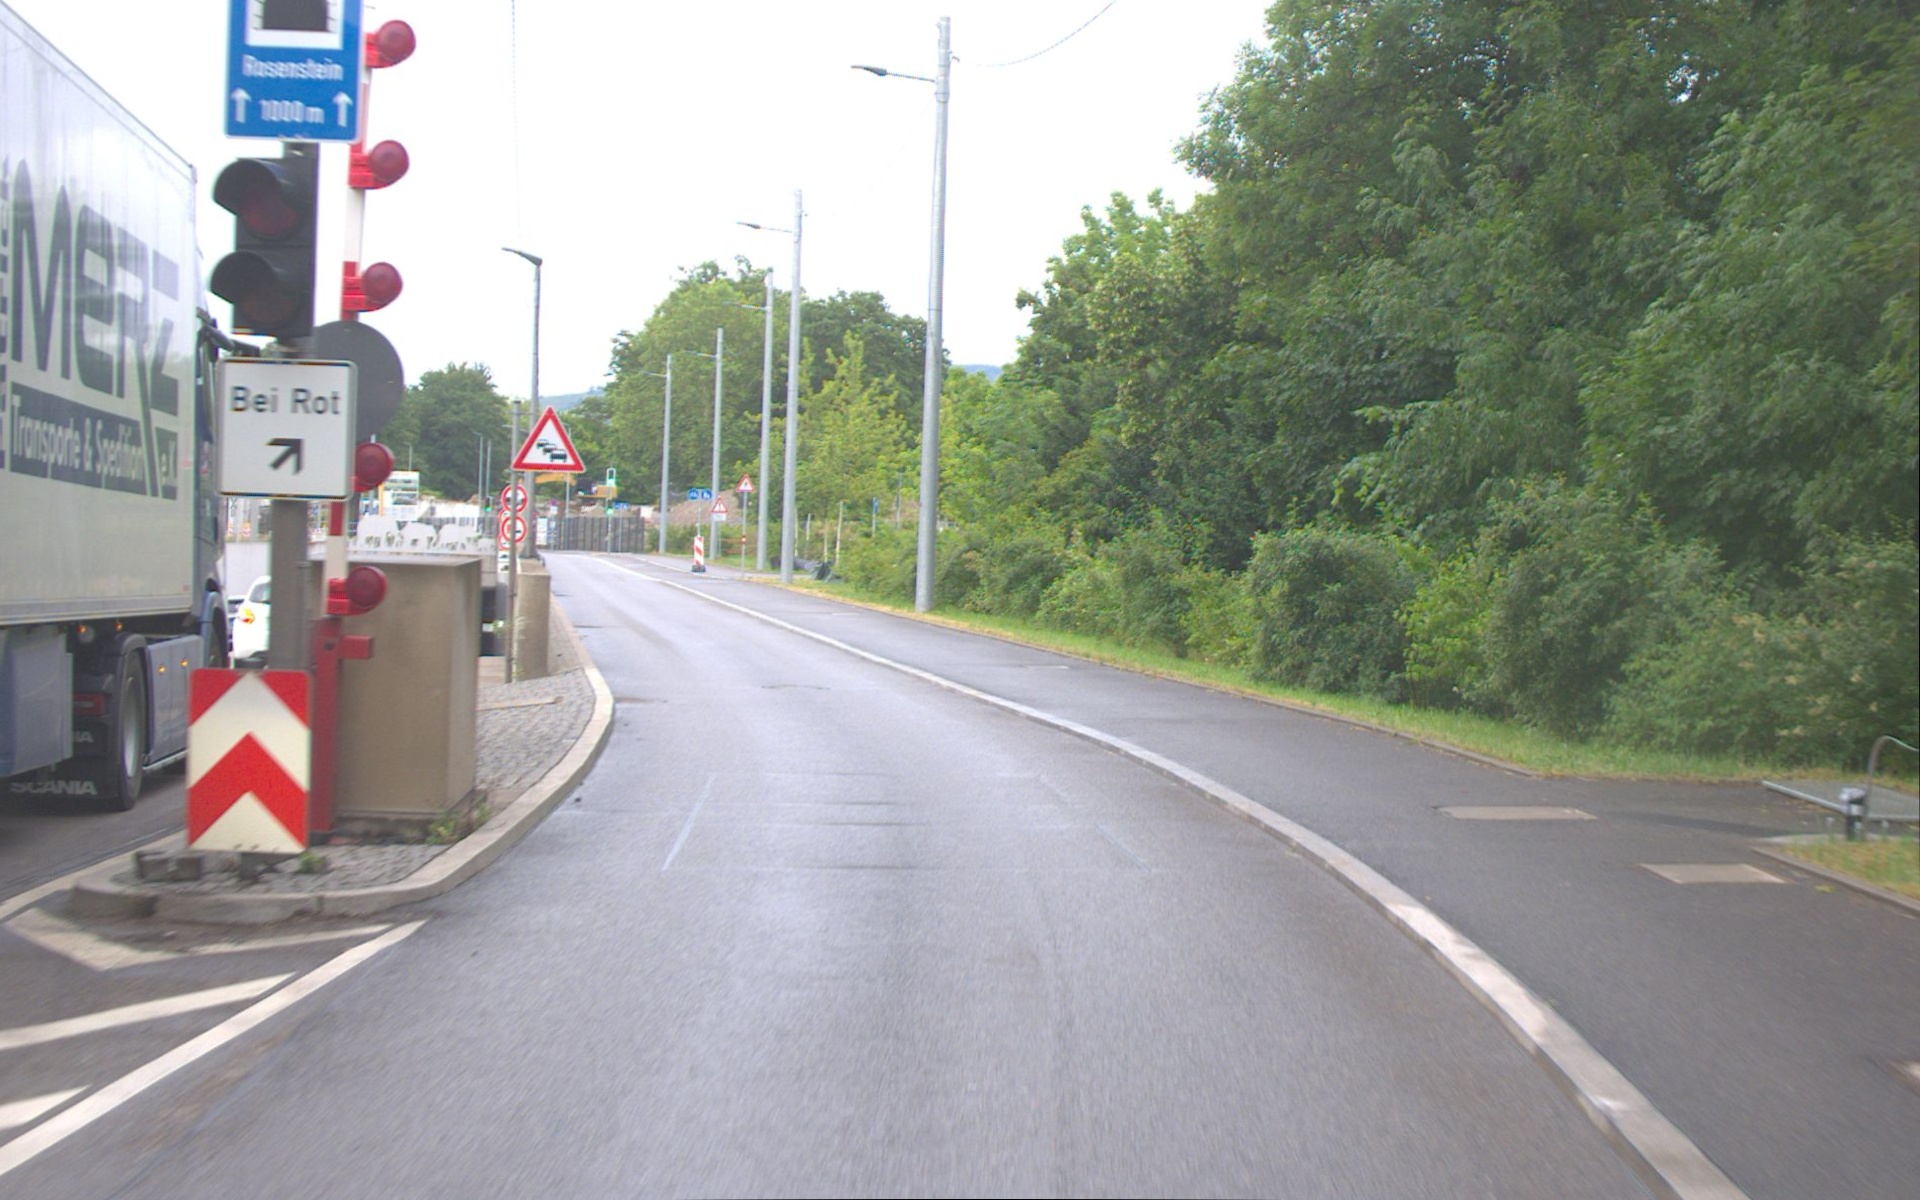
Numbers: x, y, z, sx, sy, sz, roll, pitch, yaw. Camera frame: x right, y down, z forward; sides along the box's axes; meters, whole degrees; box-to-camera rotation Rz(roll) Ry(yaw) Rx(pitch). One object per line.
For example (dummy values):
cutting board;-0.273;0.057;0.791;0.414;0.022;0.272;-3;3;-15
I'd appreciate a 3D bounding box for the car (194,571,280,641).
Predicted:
car;-17.248;0.126;82.116;1.681;1.441;4.002;1;3;-7

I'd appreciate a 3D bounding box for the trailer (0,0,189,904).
trailer;-5.631;-0.767;15.080;2.762;4.238;13.186;0;1;-5

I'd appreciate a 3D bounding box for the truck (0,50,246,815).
truck;-6.291;-0.990;21.901;2.755;4.190;6.308;0;1;-6

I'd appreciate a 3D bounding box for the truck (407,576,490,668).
truck;-23.351;0.954;157.233;3.517;4.026;8.076;1;1;-7

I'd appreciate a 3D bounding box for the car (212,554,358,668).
car;-9.707;0.126;49.685;1.809;1.419;4.002;1;3;-7
